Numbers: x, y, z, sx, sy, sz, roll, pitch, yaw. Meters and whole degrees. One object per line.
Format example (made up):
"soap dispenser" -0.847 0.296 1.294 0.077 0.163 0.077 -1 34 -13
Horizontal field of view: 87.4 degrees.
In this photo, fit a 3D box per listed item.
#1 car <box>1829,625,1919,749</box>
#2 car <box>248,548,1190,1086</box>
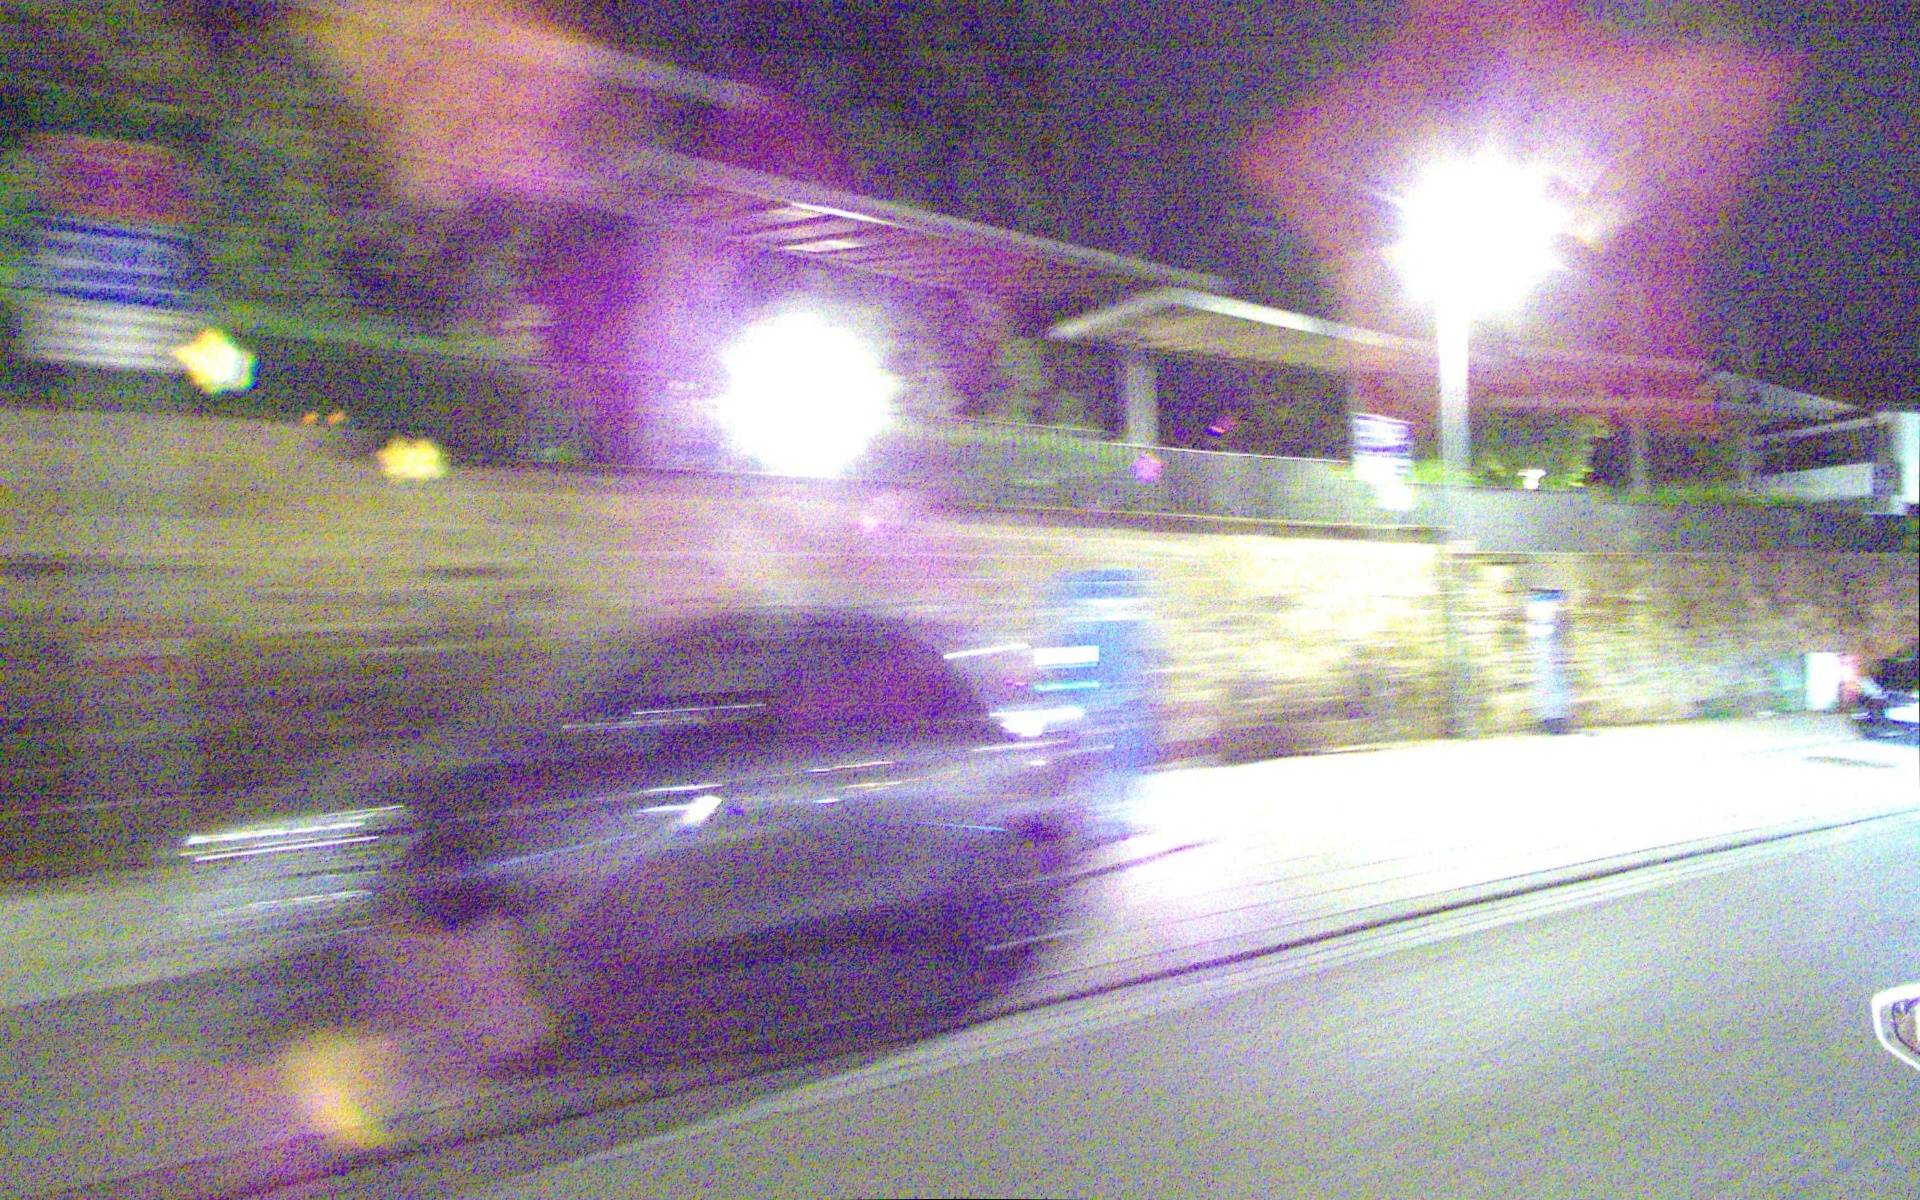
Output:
"car" 13.389 1.102 13.139 4.075 1.456 1.685 1 1 -28
"car" -0.897 0.692 4.575 3.650 1.544 1.683 3 -1 -32
